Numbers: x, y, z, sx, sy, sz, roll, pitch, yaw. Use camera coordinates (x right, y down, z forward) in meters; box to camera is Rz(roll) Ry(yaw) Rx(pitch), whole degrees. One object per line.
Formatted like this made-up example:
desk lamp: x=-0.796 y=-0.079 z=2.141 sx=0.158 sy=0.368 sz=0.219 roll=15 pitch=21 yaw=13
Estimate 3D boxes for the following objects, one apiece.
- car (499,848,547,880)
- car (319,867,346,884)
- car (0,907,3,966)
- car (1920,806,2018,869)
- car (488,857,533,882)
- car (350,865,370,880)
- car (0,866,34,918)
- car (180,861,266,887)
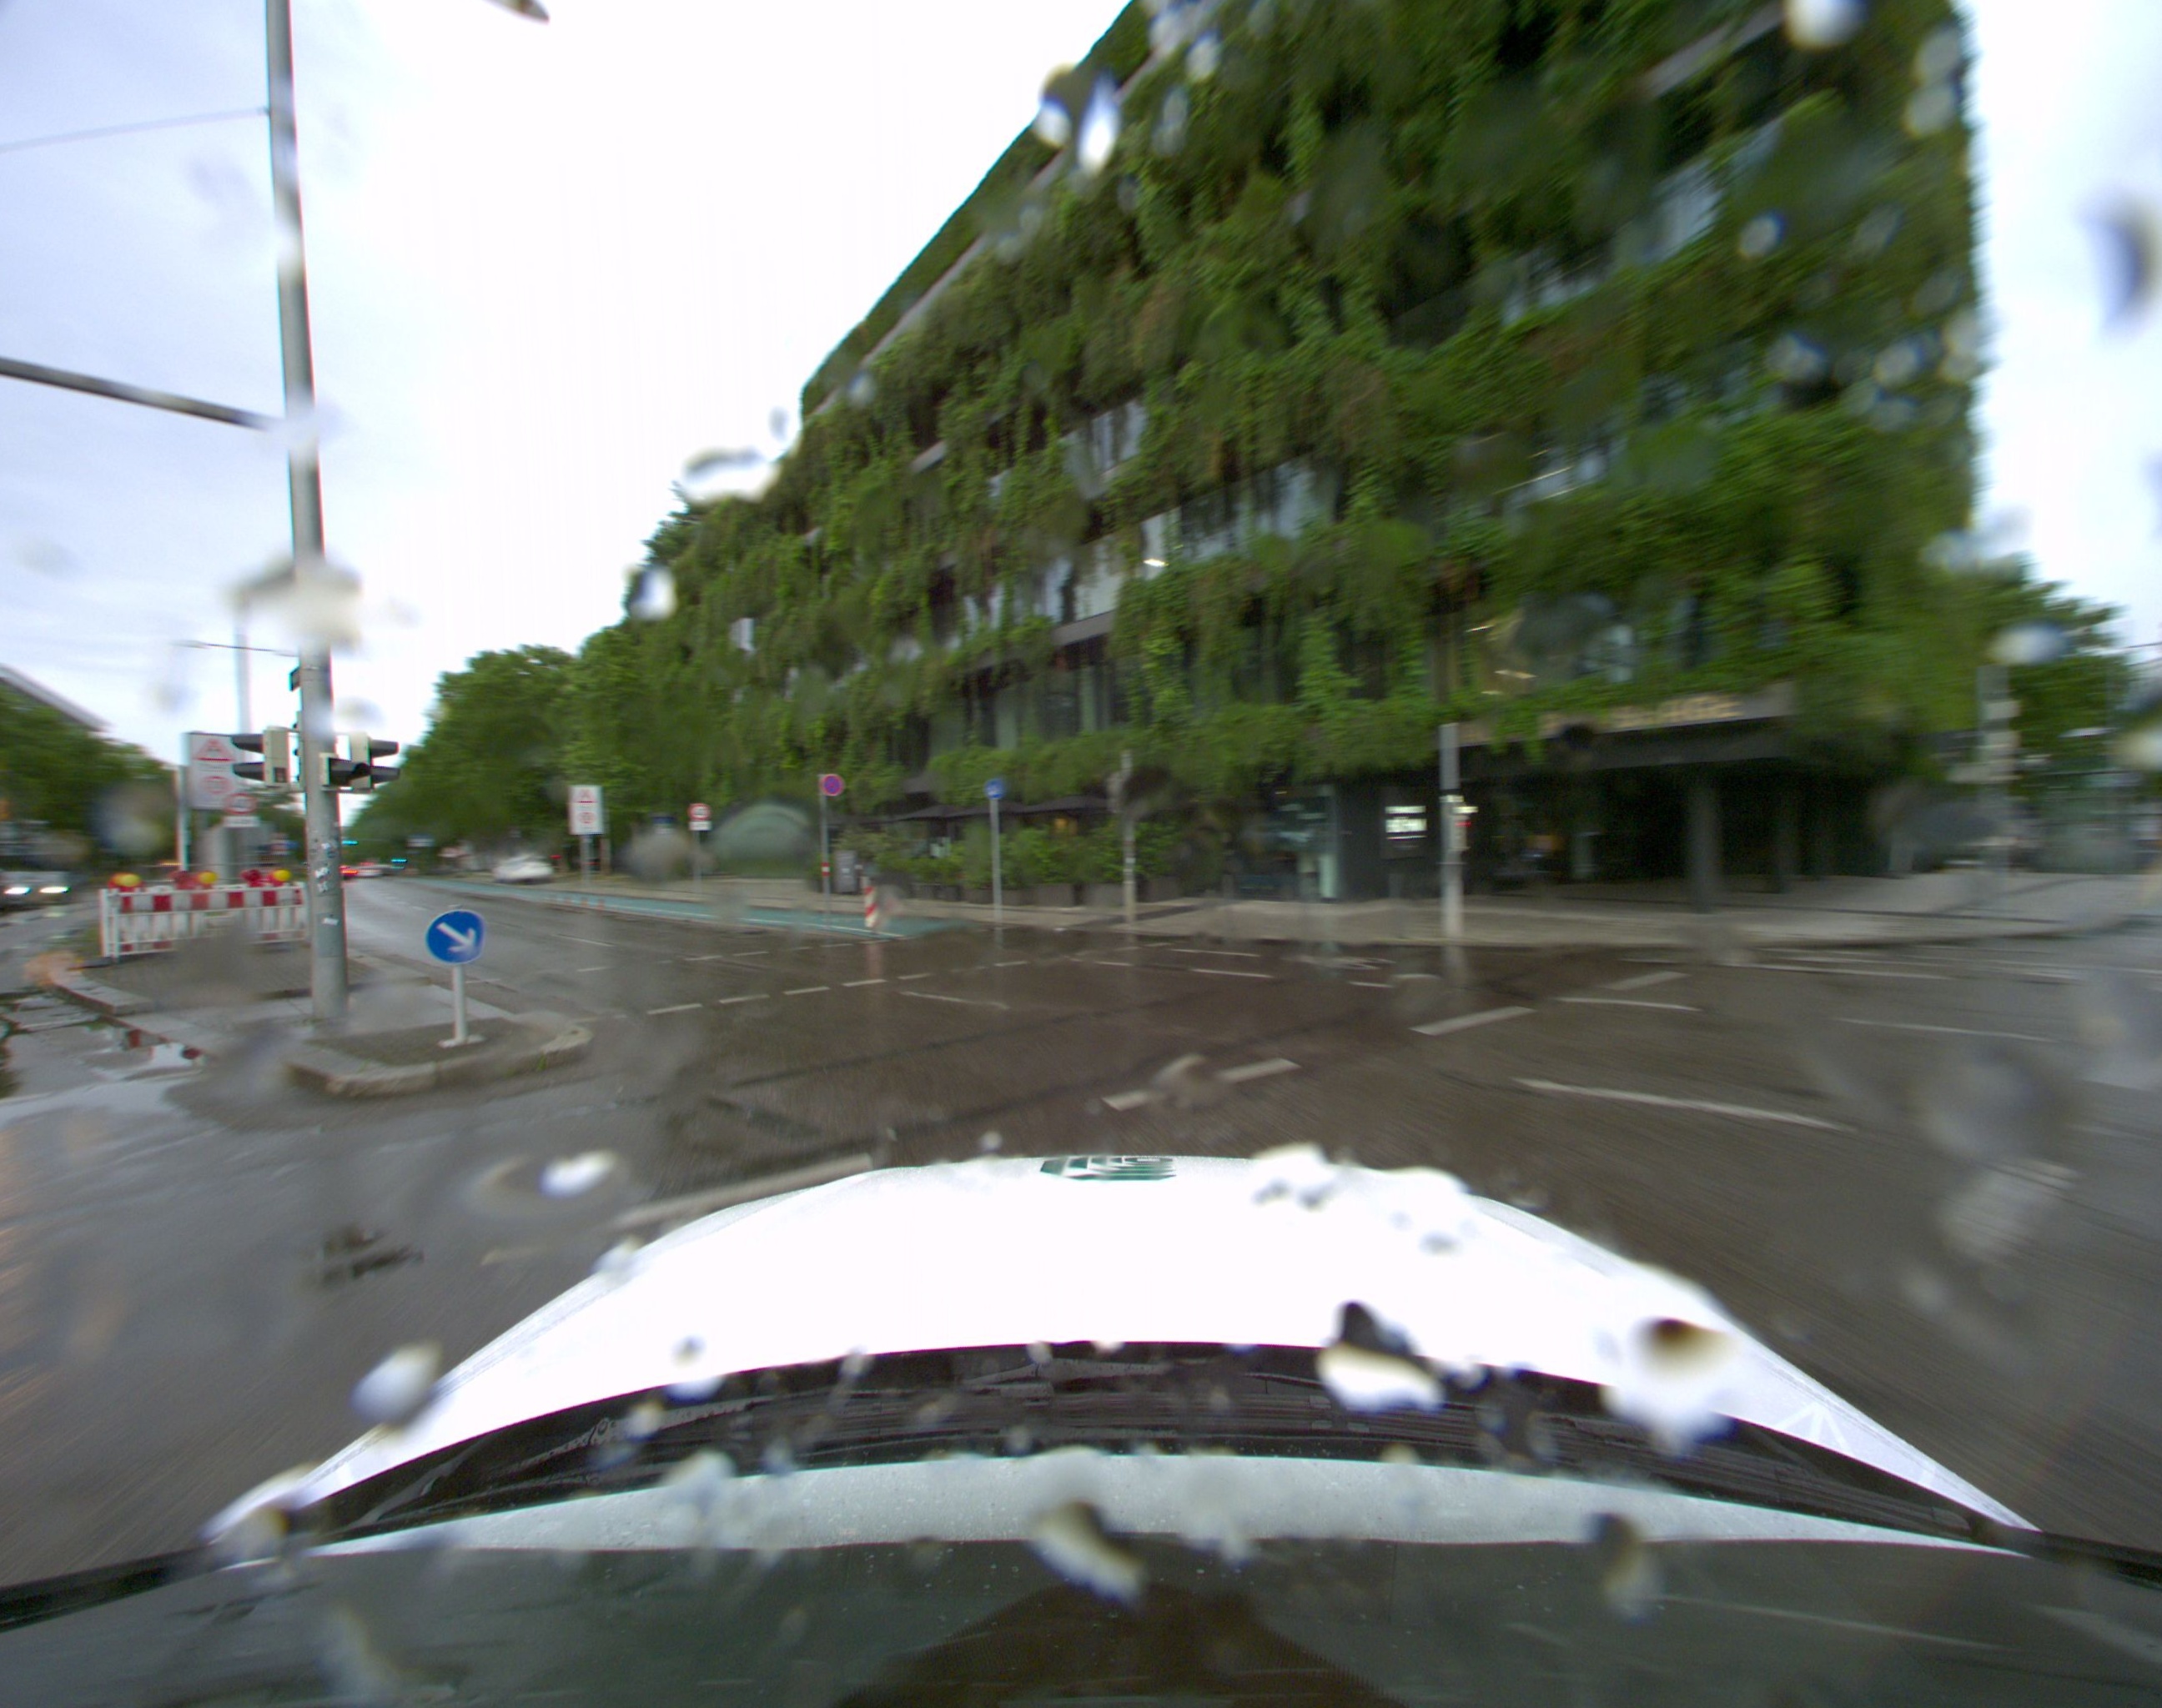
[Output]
car: x=-35.742 y=0.631 z=52.137 sx=1.860 sy=1.837 sz=5.033 roll=-4 pitch=3 yaw=-41
car: x=-68.437 y=1.949 z=74.451 sx=1.635 sy=1.471 sz=3.950 roll=-2 pitch=1 yaw=-45
car: x=-16.262 y=1.014 z=10.973 sx=4.110 sy=1.481 sz=1.861 roll=-1 pitch=1 yaw=40
car: x=30.112 y=-0.573 z=27.660 sx=4.897 sy=1.955 sz=2.094 roll=-2 pitch=1 yaw=-42
car: x=-39.909 y=1.051 z=56.916 sx=1.860 sy=1.632 sz=4.728 roll=-3 pitch=1 yaw=-43
car: x=-89.744 y=2.278 z=101.330 sx=1.635 sy=1.666 sz=3.951 roll=-4 pitch=2 yaw=-43
car: x=-39.322 y=1.379 z=28.815 sx=1.852 sy=1.766 sz=5.047 roll=-3 pitch=1 yaw=-42
car: x=-65.288 y=1.508 z=62.047 sx=4.213 sy=1.789 sz=1.998 roll=-1 pitch=0 yaw=-3
